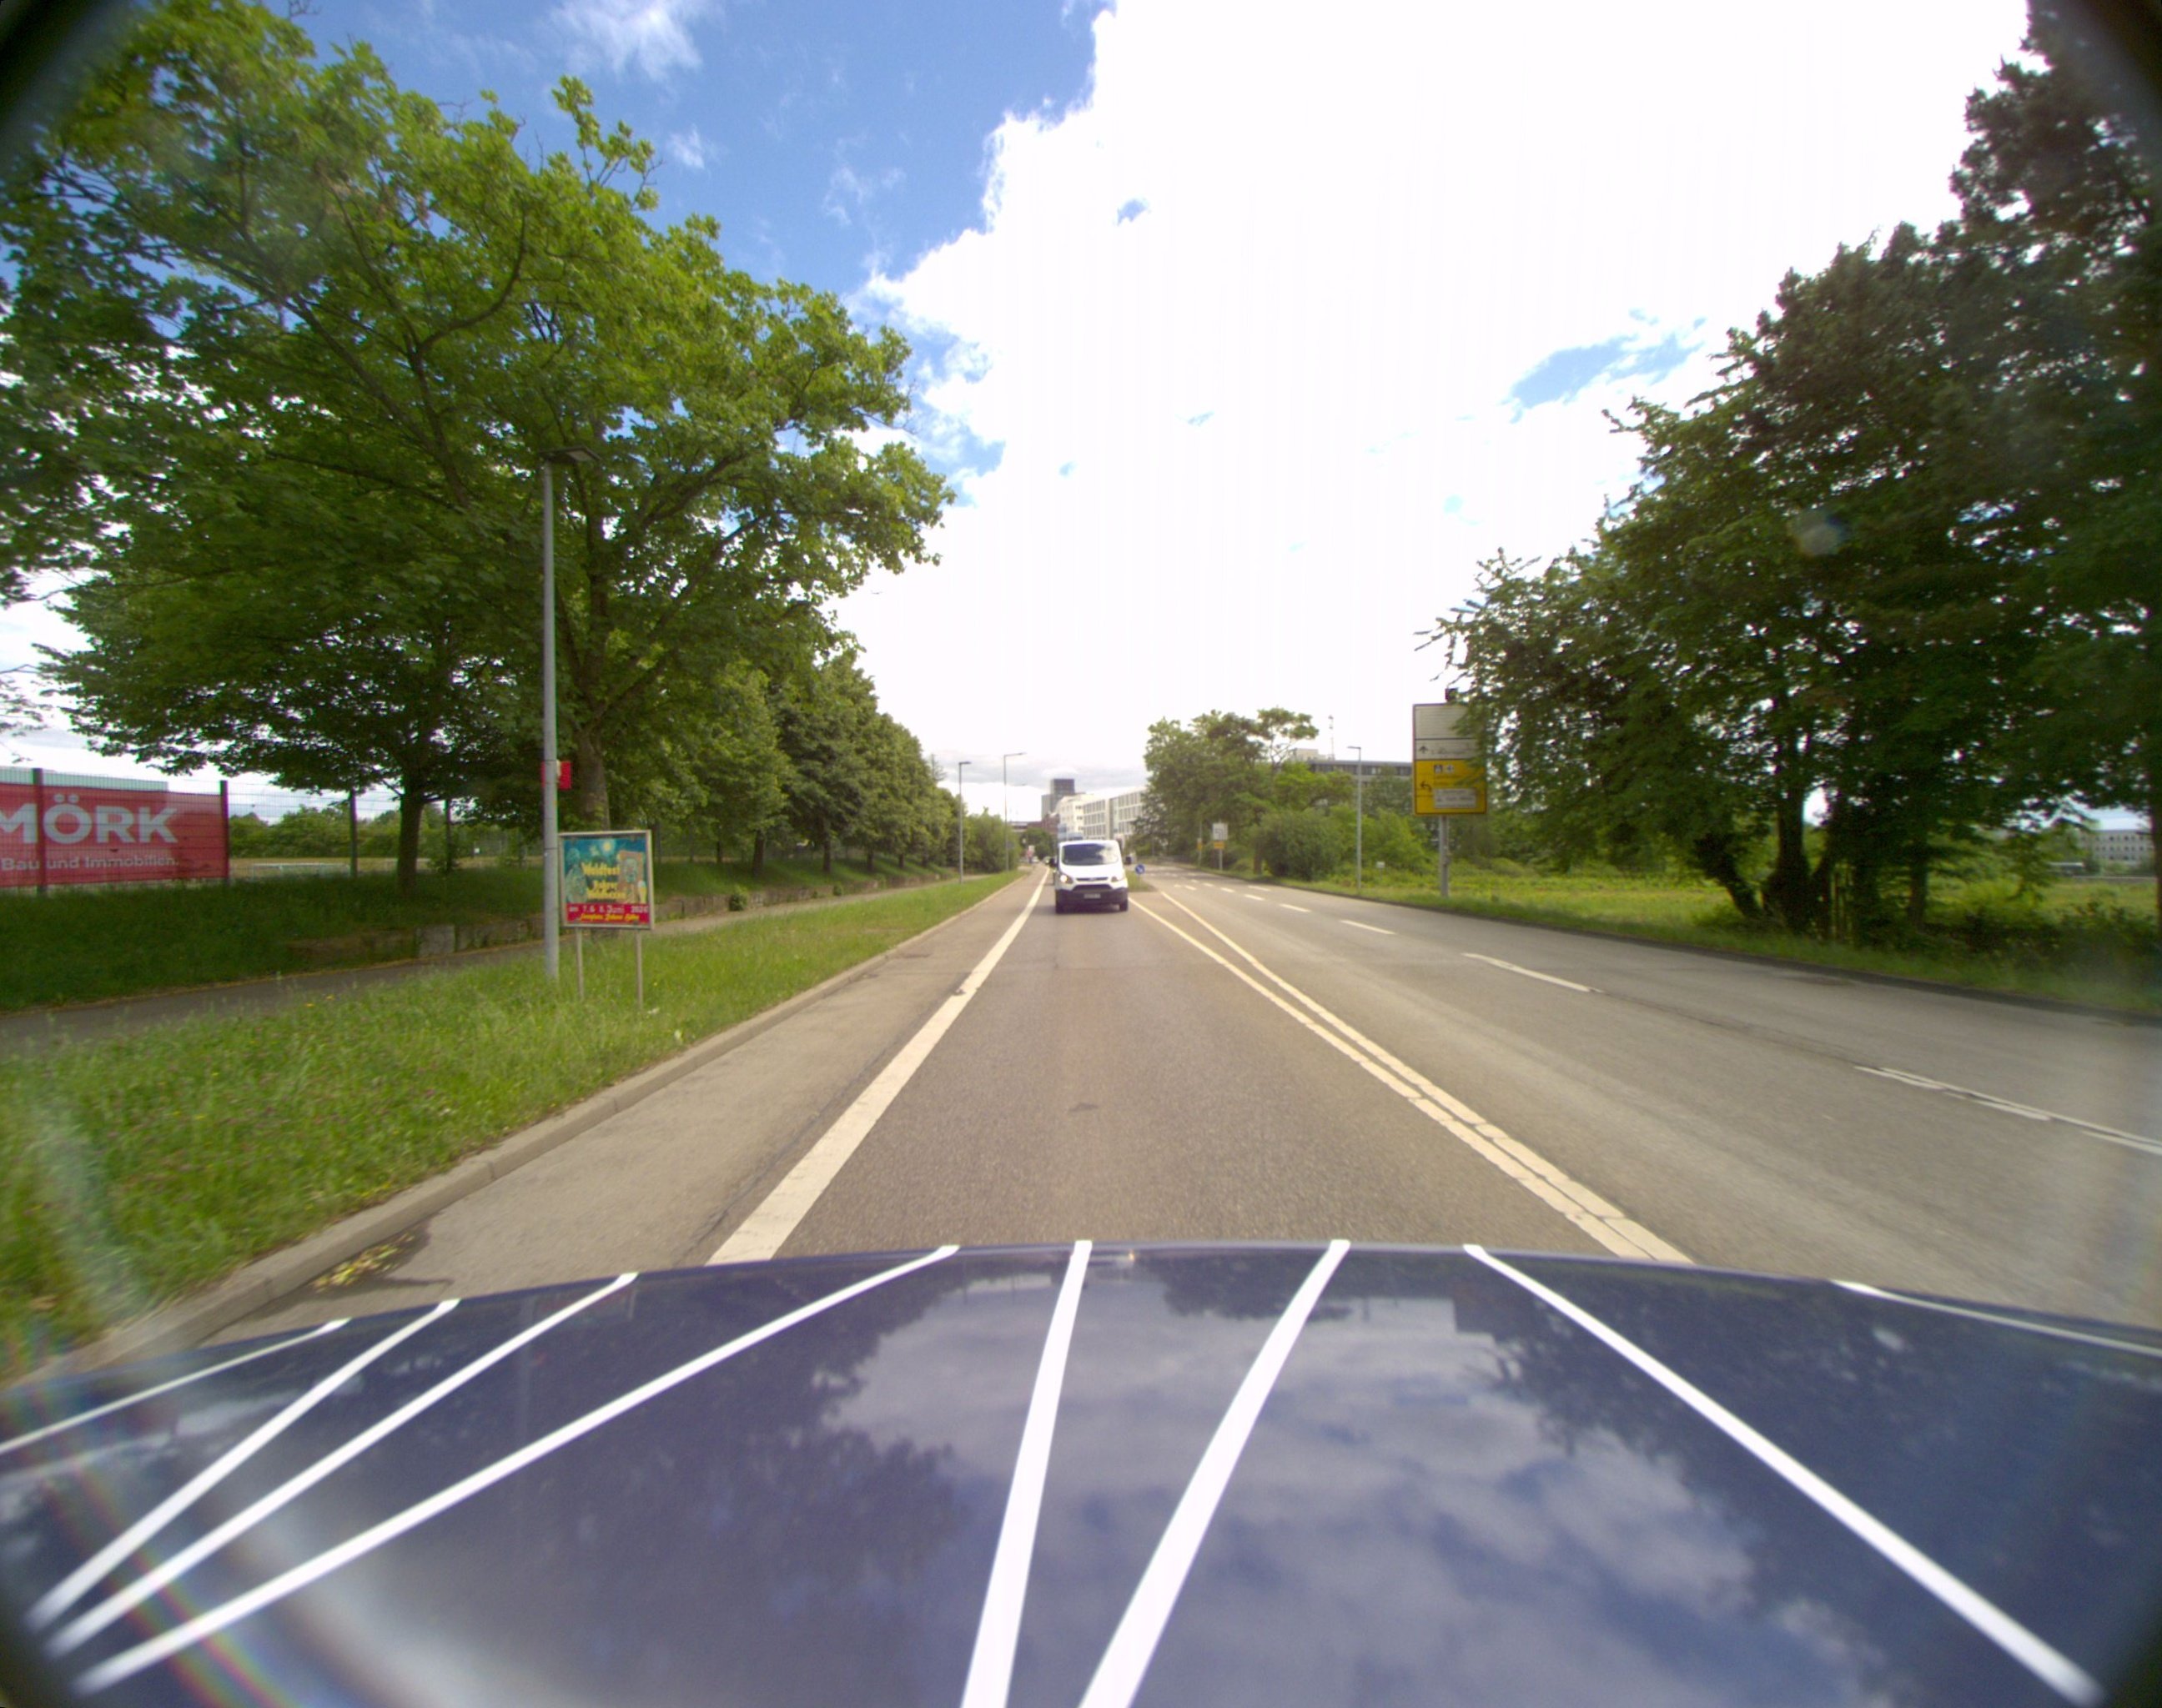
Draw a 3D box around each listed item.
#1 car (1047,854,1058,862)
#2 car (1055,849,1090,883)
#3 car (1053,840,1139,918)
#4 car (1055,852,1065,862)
[{"bbox_3d":[-5.802,0.813,155.817,1.873,1.685,4.369,-1,0,-6],"label":"car"},{"bbox_3d":[-0.506,0.667,44.356,1.872,1.836,4.370,-2,0,-1],"label":"car"},{"bbox_3d":[0.284,0.635,22.869,2.122,1.963,6.205,-2,0,-2],"label":"car"},{"bbox_3d":[-3.948,0.514,142.697,1.872,1.685,4.370,-2,0,-2],"label":"car"}]
